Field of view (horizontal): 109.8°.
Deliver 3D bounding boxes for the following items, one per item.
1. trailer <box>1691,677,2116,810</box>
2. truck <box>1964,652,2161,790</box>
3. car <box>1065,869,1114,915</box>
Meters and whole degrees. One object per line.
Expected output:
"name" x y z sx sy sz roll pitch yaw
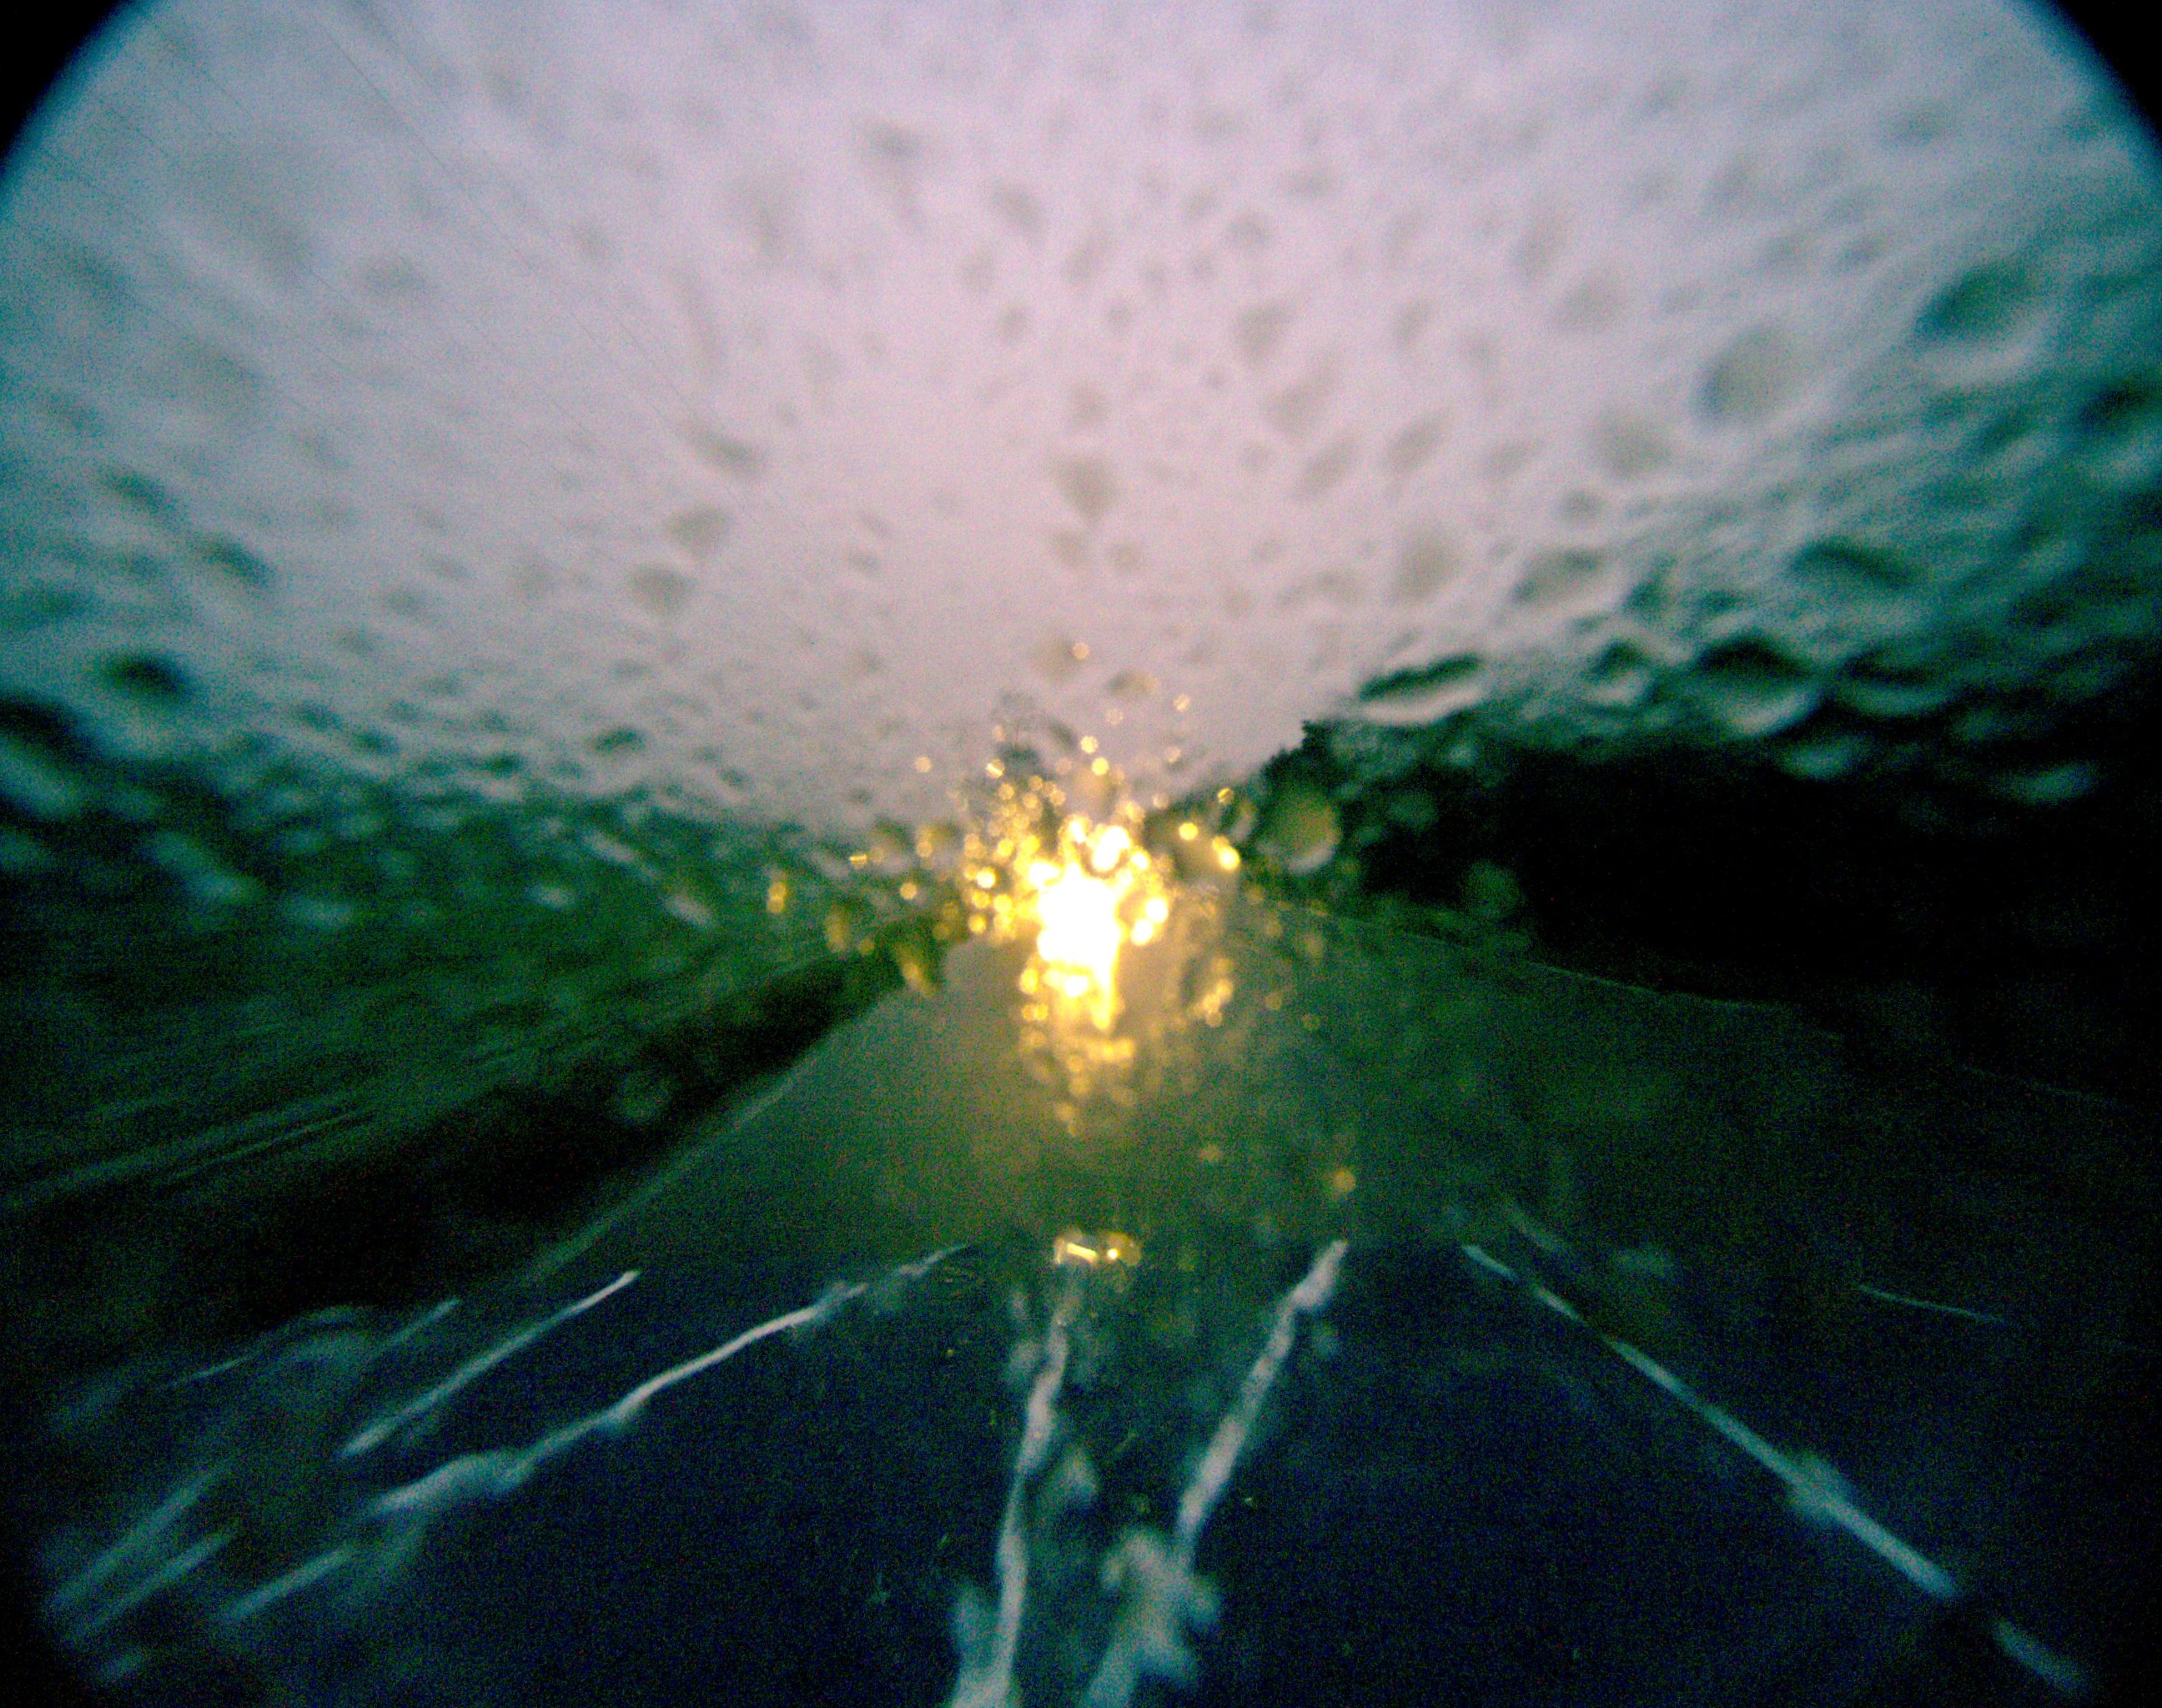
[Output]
"trailer" 26.332 -3.272 25.747 2.442 2.874 11.084 -1 0 0
"truck" 26.287 -3.272 18.789 2.456 2.870 5.583 -1 0 0
"car" 0.425 1.582 32.963 1.910 1.653 4.000 -2 1 3
